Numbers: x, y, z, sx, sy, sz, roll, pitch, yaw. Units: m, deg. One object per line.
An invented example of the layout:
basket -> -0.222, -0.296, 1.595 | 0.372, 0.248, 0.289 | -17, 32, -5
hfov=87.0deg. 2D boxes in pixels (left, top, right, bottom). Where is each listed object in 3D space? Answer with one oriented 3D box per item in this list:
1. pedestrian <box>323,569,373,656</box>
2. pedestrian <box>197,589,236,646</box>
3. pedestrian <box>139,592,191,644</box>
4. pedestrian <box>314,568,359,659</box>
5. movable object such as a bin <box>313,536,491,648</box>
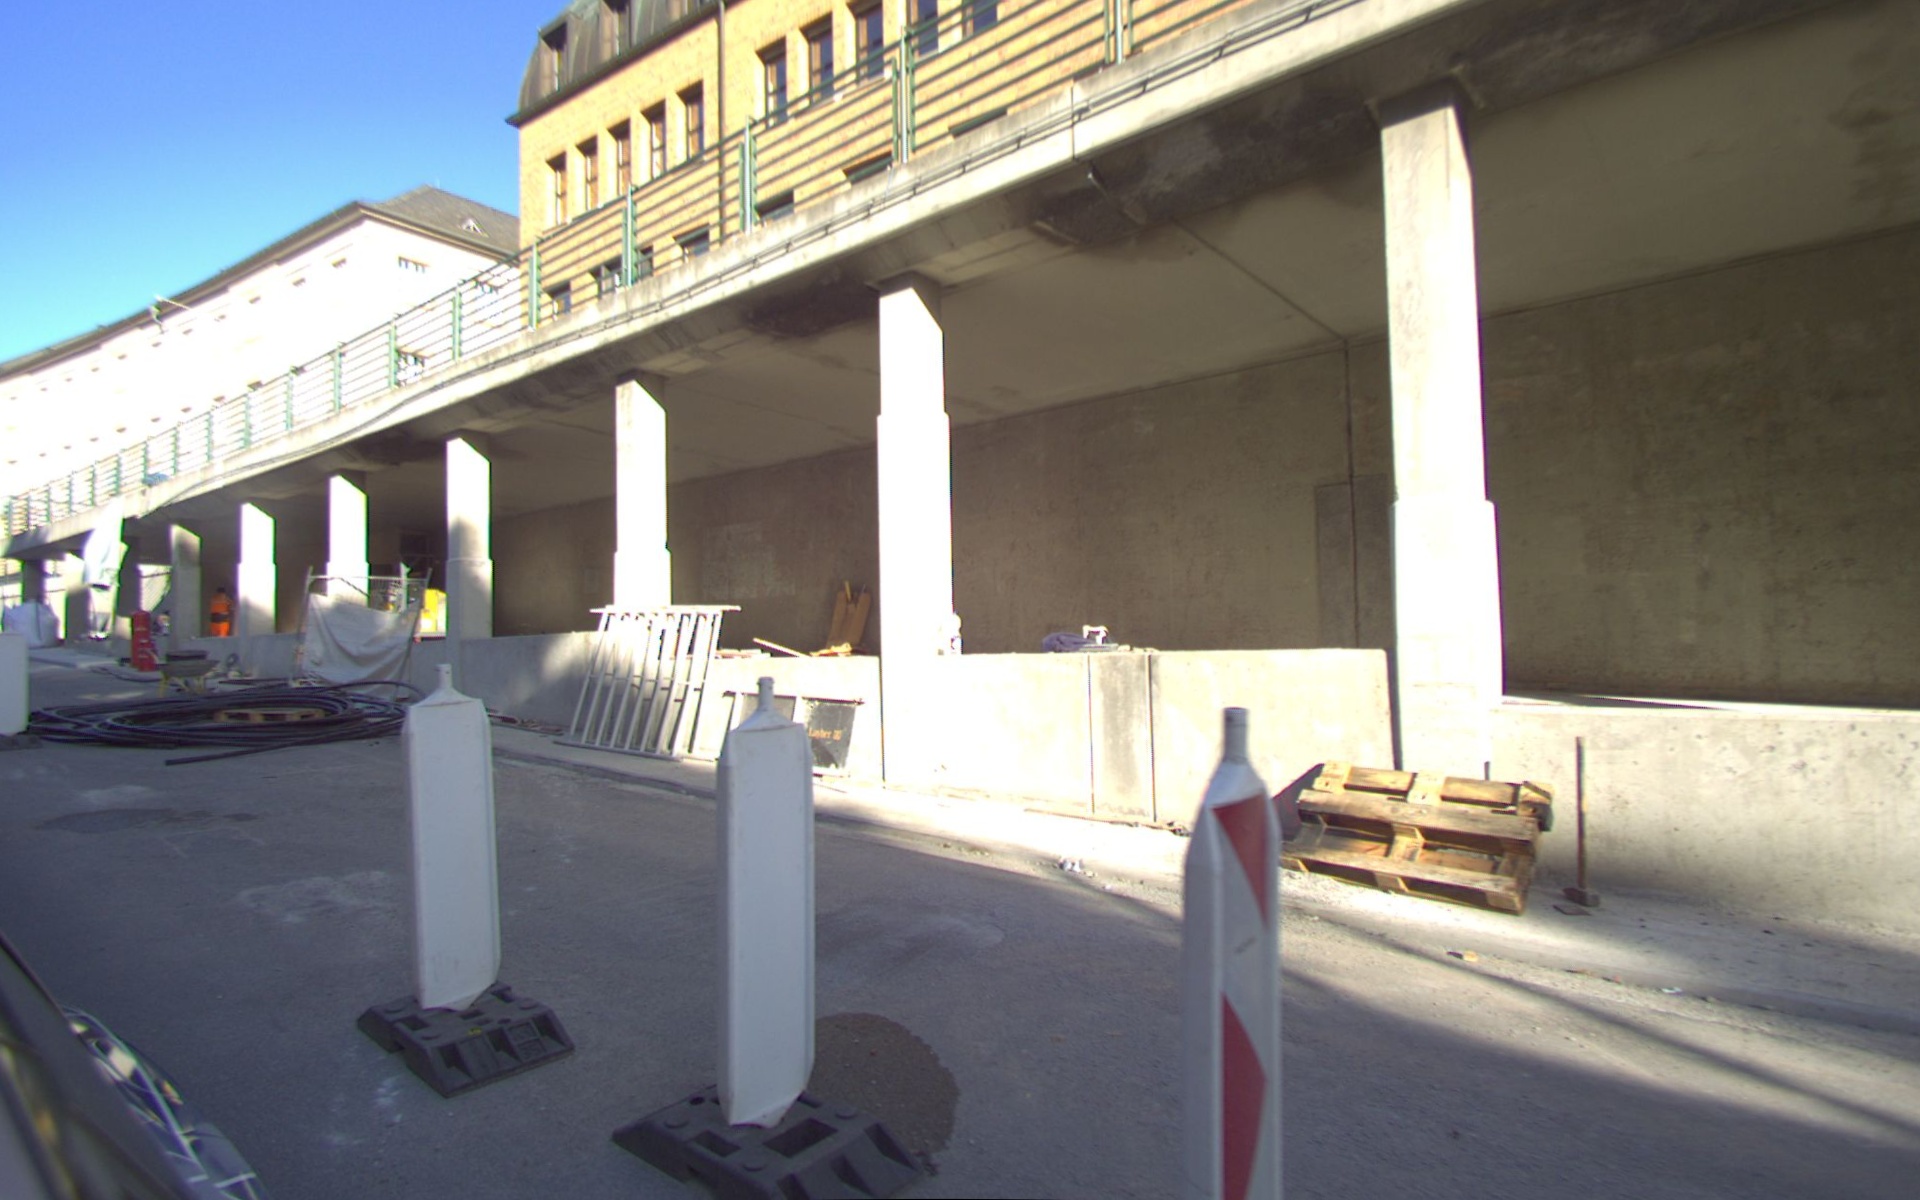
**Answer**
pedestrian -> -13.097, 0.261, 21.652 | 0.708, 1.828, 0.698 | 0, 0, 35
pedestrian -> -21.394, 0.506, 29.128 | 0.628, 1.591, 0.645 | 1, -1, 27
pedestrian -> -22.316, 0.502, 28.414 | 0.780, 1.409, 0.866 | 1, -1, 28
pedestrian -> -12.766, 0.264, 20.716 | 0.625, 1.818, 0.649 | 0, 0, 45
movable object such as a bin -> -10.938, -0.131, 19.804 | 3.151, 2.002, 1.869 | 0, -1, 35
